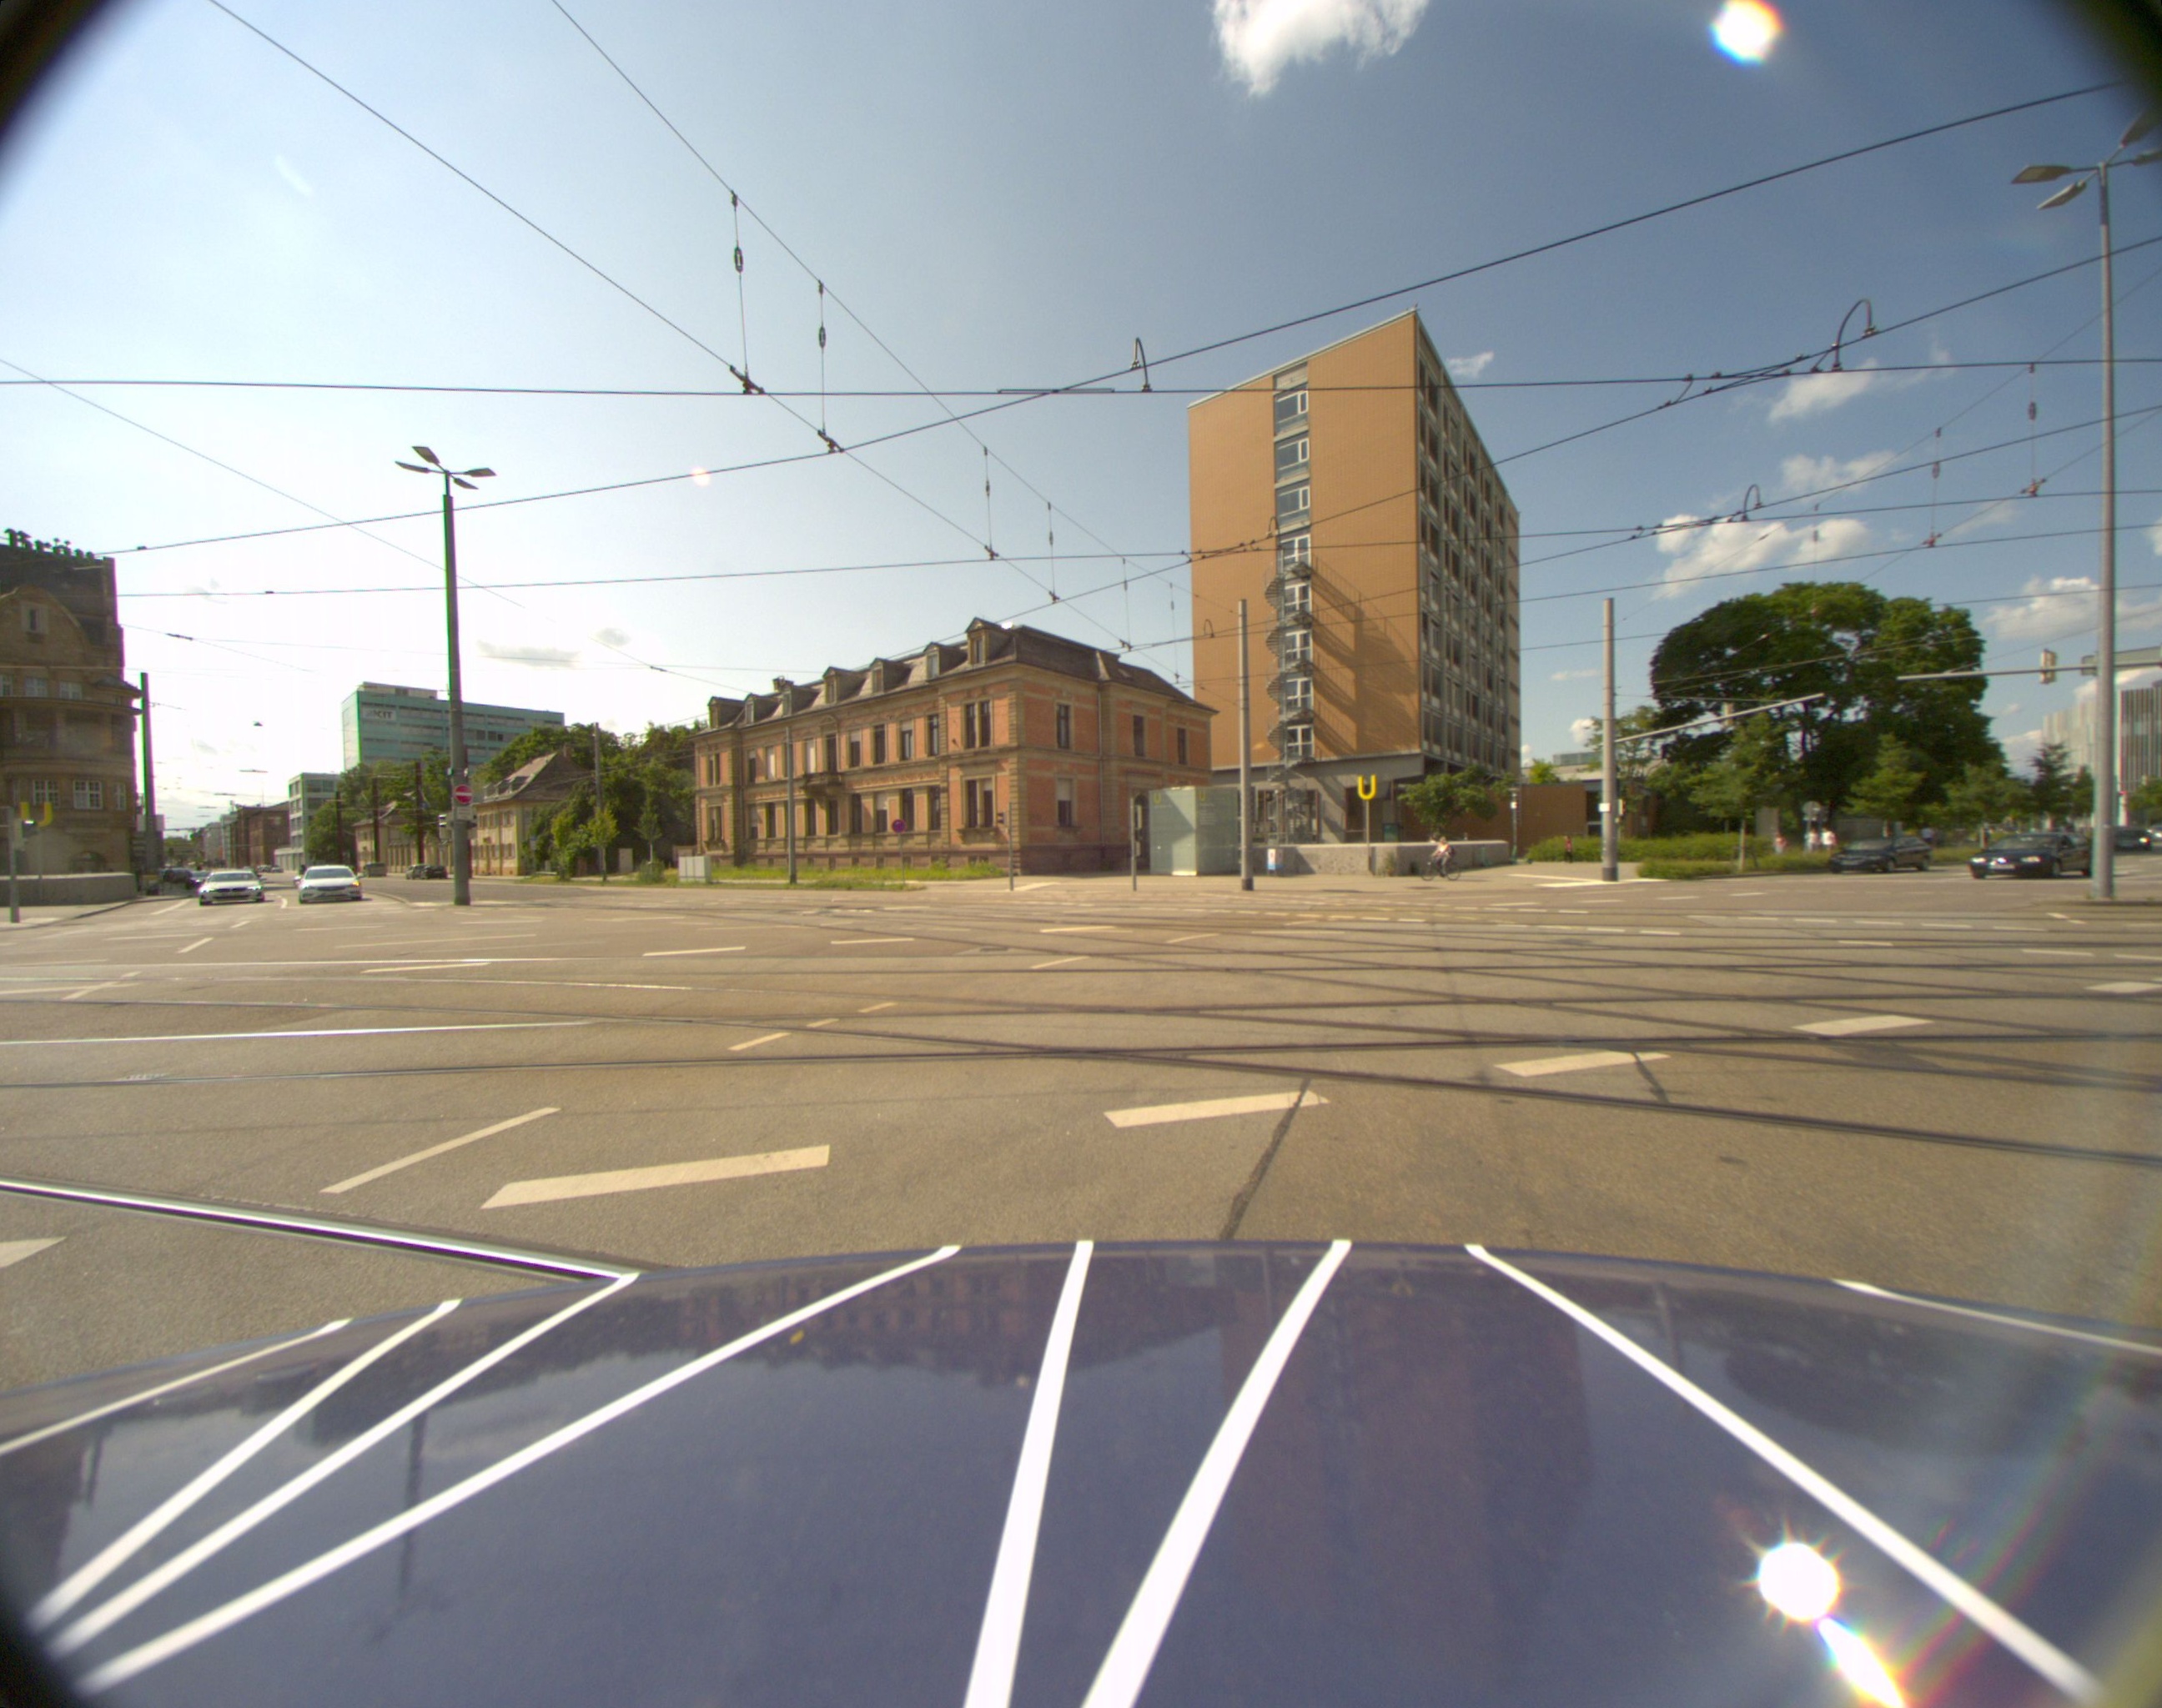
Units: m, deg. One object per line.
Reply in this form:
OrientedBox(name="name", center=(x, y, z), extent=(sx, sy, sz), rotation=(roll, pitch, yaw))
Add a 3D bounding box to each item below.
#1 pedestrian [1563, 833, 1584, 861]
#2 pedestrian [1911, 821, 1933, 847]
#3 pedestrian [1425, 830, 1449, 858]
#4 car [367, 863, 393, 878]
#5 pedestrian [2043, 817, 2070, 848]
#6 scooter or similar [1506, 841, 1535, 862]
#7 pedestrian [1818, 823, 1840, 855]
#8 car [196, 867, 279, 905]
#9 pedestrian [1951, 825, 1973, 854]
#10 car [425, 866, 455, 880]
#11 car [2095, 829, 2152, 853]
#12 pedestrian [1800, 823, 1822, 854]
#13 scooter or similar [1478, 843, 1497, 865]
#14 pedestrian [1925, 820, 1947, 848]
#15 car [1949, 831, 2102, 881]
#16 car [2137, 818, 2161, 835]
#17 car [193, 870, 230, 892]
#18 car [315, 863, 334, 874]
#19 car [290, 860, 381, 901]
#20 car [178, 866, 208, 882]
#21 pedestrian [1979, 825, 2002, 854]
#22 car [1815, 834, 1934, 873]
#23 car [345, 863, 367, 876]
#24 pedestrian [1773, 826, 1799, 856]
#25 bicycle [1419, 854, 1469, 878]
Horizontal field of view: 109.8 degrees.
OrientedBox(name="pedestrian", center=(28.363, -0.406, 43.785), extent=(0.887, 1.614, 0.617), rotation=(2, 5, 41))
OrientedBox(name="pedestrian", center=(55.769, -1.342, 50.375), extent=(0.891, 1.737, 0.742), rotation=(-3, 4, -31))
OrientedBox(name="pedestrian", center=(21.036, -0.581, 44.923), extent=(1.096, 1.614, 0.615), rotation=(-1, 4, -8))
OrientedBox(name="car", center=(-89.112, 2.081, 96.622), extent=(3.988, 1.805, 2.004), rotation=(-1, 1, 42))
OrientedBox(name="pedestrian", center=(66.319, -1.449, 51.665), extent=(0.769, 2.002, 0.963), rotation=(-3, 0, -28))
OrientedBox(name="scooter or similar", center=(23.845, -0.124, 41.241), extent=(1.315, 1.098, 0.466), rotation=(0, 2, 19))
OrientedBox(name="pedestrian", center=(41.465, -0.839, 42.105), extent=(0.891, 1.691, 0.614), rotation=(-3, 4, -31))
OrientedBox(name="car", center=(-37.351, 1.371, 33.754), extent=(2.050, 1.422, 4.526), rotation=(-4, 3, -44))
OrientedBox(name="pedestrian", center=(55.296, -0.911, 47.706), extent=(0.720, 1.724, 0.766), rotation=(-3, 0, -34))
OrientedBox(name="car", center=(-65.441, 1.932, 77.575), extent=(2.004, 1.368, 3.988), rotation=(-2, 1, -45))
OrientedBox(name="car", center=(67.263, -0.828, 49.013), extent=(4.006, 1.454, 1.822), rotation=(-2, 0, -31))
OrientedBox(name="pedestrian", center=(41.085, -0.876, 42.748), extent=(0.891, 1.691, 0.614), rotation=(-3, 4, -31))
OrientedBox(name="scooter or similar", center=(21.098, -0.006, 39.452), extent=(0.464, 1.112, 1.450), rotation=(2, 3, 44))
OrientedBox(name="pedestrian", center=(56.006, -1.316, 49.768), extent=(0.891, 1.745, 0.742), rotation=(-3, 4, -31))
OrientedBox(name="car", center=(30.379, 0.050, 24.458), extent=(4.003, 1.454, 1.824), rotation=(-2, 0, -19))
OrientedBox(name="car", center=(96.806, -2.501, 68.408), extent=(4.109, 1.427, 1.905), rotation=(-2, 0, -34))
OrientedBox(name="car", center=(-72.524, 2.246, 63.364), extent=(3.916, 1.673, 1.724), rotation=(-2, 1, 37))
OrientedBox(name="car", center=(-126.468, 2.408, 126.994), extent=(3.988, 1.805, 2.004), rotation=(-1, 1, 42))
OrientedBox(name="car", center=(-30.925, 1.053, 31.660), extent=(1.995, 1.475, 3.989), rotation=(-3, 2, -35))
OrientedBox(name="car", center=(-105.983, 2.408, 90.645), extent=(3.989, 1.805, 2.004), rotation=(-2, 1, 37))
OrientedBox(name="pedestrian", center=(56.096, -0.893, 46.859), extent=(0.720, 1.724, 0.766), rotation=(-3, 0, -34))
OrientedBox(name="car", center=(32.585, -0.024, 31.229), extent=(4.003, 1.454, 1.824), rotation=(-2, 0, -18))
OrientedBox(name="car", center=(-104.604, 2.196, 109.639), extent=(3.988, 1.805, 2.004), rotation=(-1, 1, 42))
OrientedBox(name="pedestrian", center=(38.360, -0.701, 41.341), extent=(0.890, 1.614, 0.614), rotation=(-2, 4, -15))
OrientedBox(name="bicycle", center=(14.652, 0.477, 30.664), extent=(1.823, 0.876, 0.648), rotation=(-1, 2, -14))
